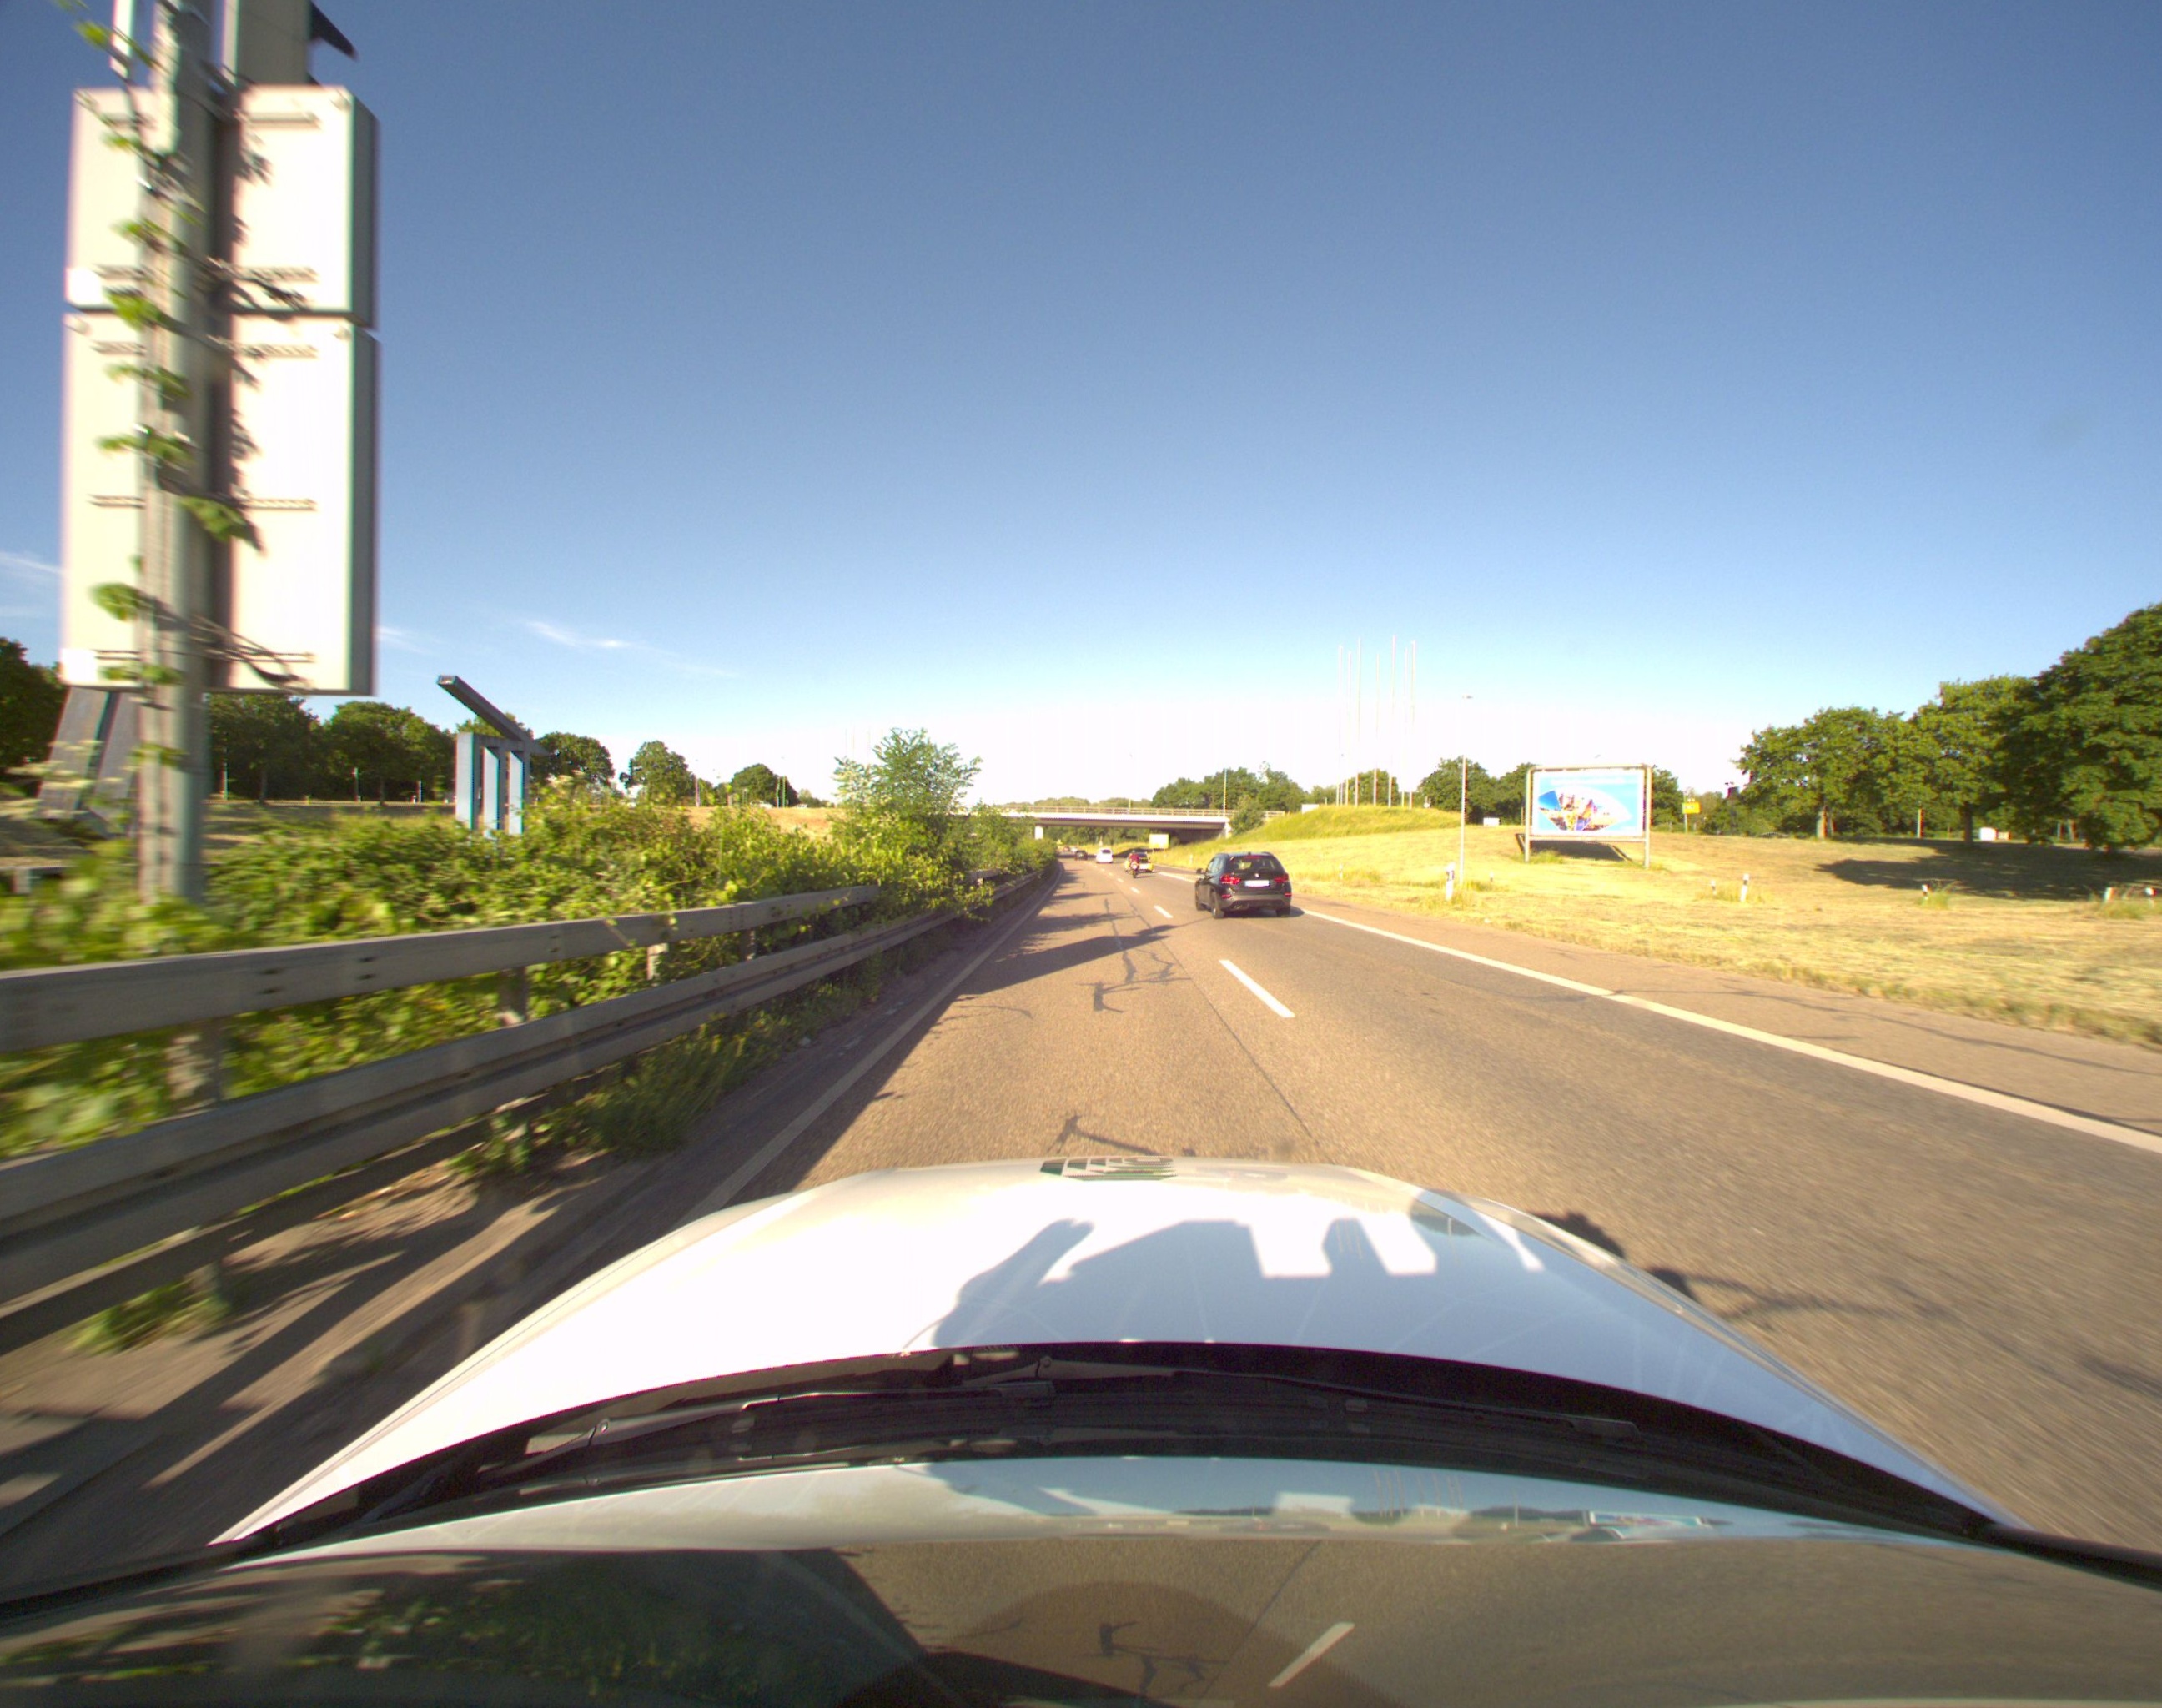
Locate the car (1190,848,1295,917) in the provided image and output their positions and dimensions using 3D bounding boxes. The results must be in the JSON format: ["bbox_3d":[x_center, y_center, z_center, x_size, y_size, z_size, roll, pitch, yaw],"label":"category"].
[{"bbox_3d":[3.882,0.661,20.290,1.693,1.506,4.578,-1,-1,0],"label":"car"}]

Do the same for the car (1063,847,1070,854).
[{"bbox_3d":[-3.824,-0.983,216.415,1.864,1.685,3.996,1,0,-3],"label":"car"}]

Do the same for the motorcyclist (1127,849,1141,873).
[{"bbox_3d":[3.193,0.417,49.046,0.813,1.447,1.094,0,0,3],"label":"motorcyclist"}]

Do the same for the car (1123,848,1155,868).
[{"bbox_3d":[4.288,0.271,60.447,1.893,1.471,3.995,-1,0,-3],"label":"car"}]

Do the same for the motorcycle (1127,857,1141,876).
[{"bbox_3d":[3.192,0.715,48.983,0.813,1.069,2.838,0,1,3],"label":"motorcycle"}]

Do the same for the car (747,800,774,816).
[{"bbox_3d":[-58.679,-8.426,149.223,4.273,2.805,2.092,1,1,20],"label":"car"}]

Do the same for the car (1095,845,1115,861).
[{"bbox_3d":[2.784,-0.149,95.586,1.893,1.767,3.995,-1,0,-4],"label":"car"}]

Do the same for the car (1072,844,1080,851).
[{"bbox_3d":[-1.128,-1.640,198.608,1.863,1.685,3.998,1,0,-1],"label":"car"}]

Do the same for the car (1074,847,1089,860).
[{"bbox_3d":[0.020,-0.055,116.613,1.893,1.767,3.995,-1,1,-4],"label":"car"}]
